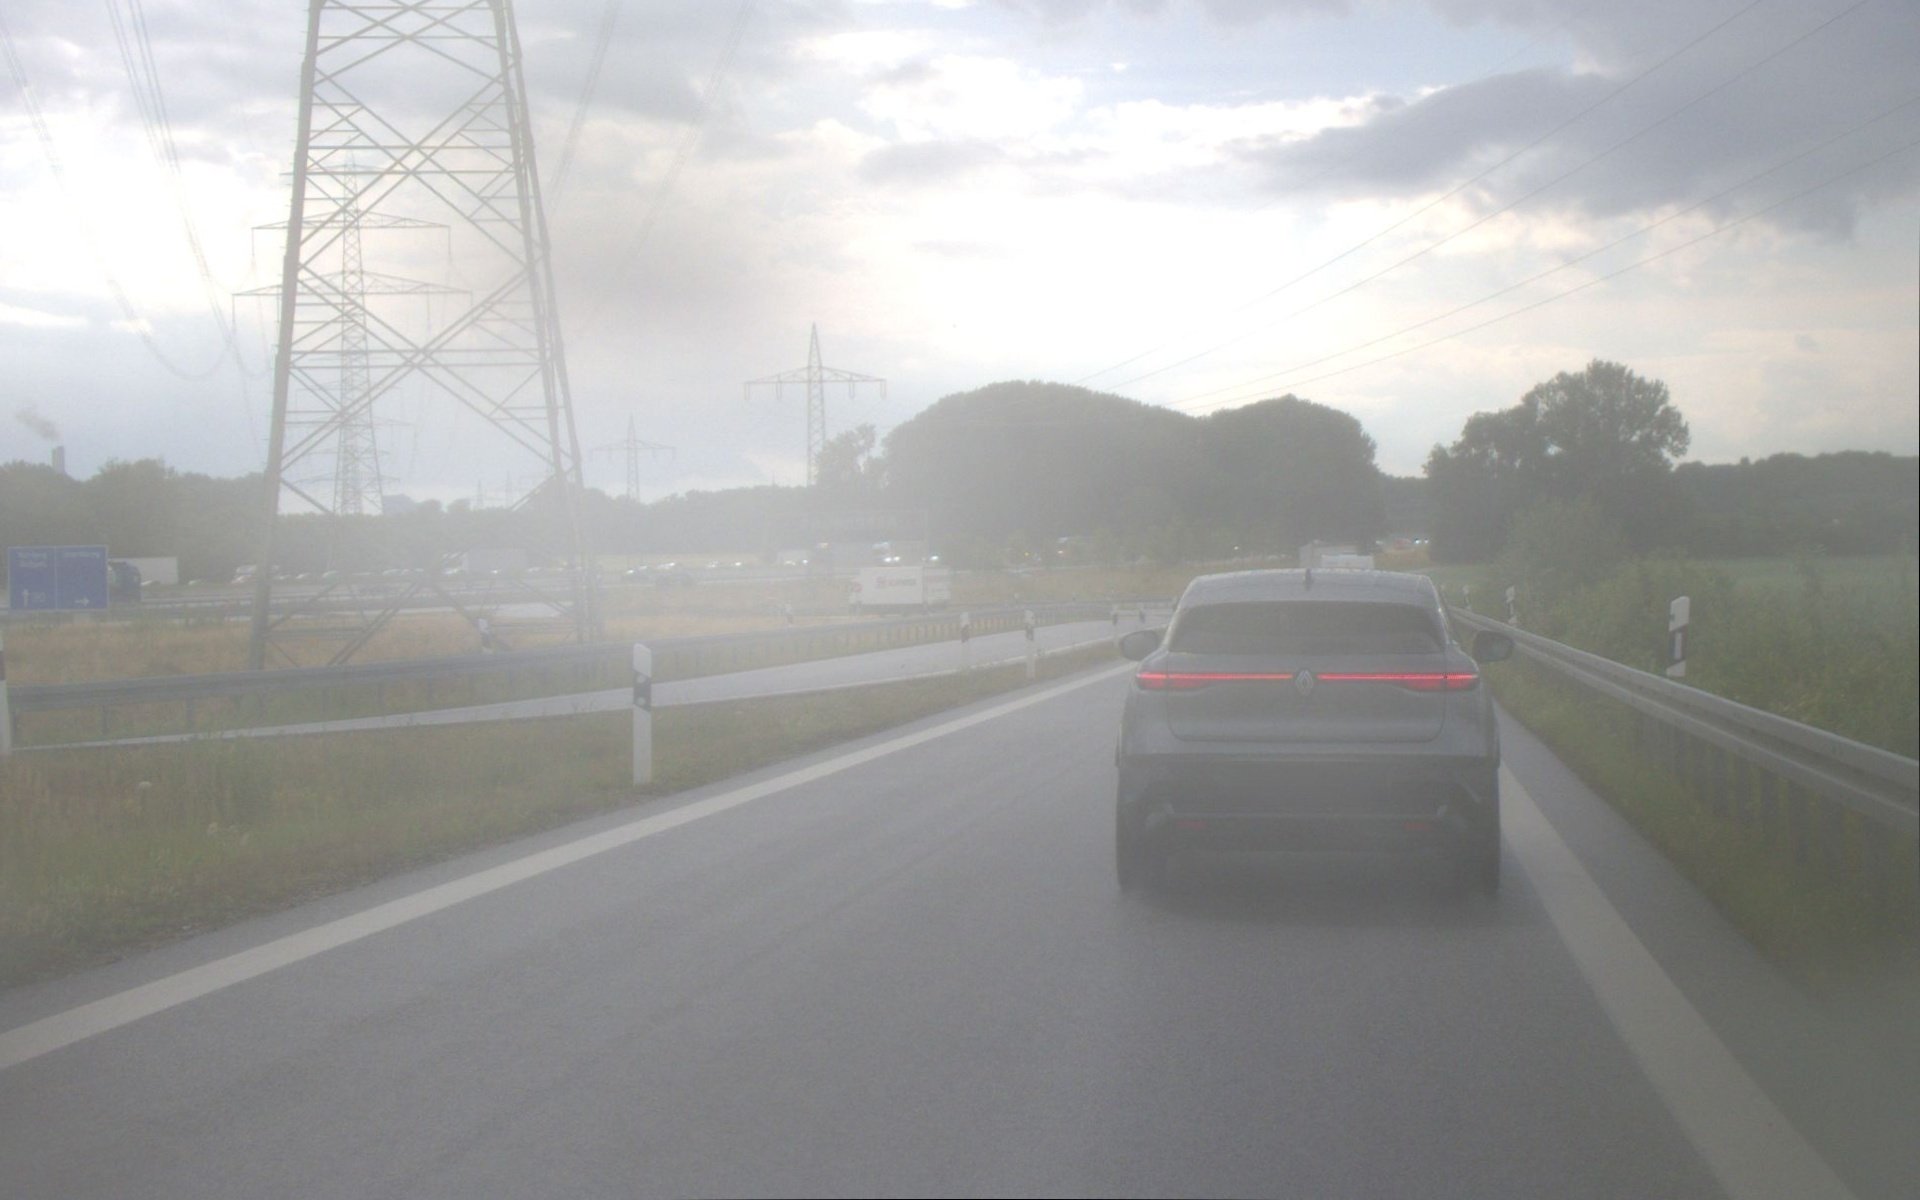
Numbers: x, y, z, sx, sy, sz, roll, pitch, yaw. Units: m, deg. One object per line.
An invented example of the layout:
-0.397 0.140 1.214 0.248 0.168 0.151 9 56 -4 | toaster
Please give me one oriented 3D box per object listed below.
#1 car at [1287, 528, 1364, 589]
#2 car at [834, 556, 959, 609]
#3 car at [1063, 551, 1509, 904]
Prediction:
19.420 -2.262 183.208 3.135 2.941 7.210 -1 3 -1 | car
-4.526 -1.227 244.337 9.038 3.598 3.385 -1 1 44 | car
1.692 0.539 17.533 1.994 1.561 4.148 0 1 6 | car
